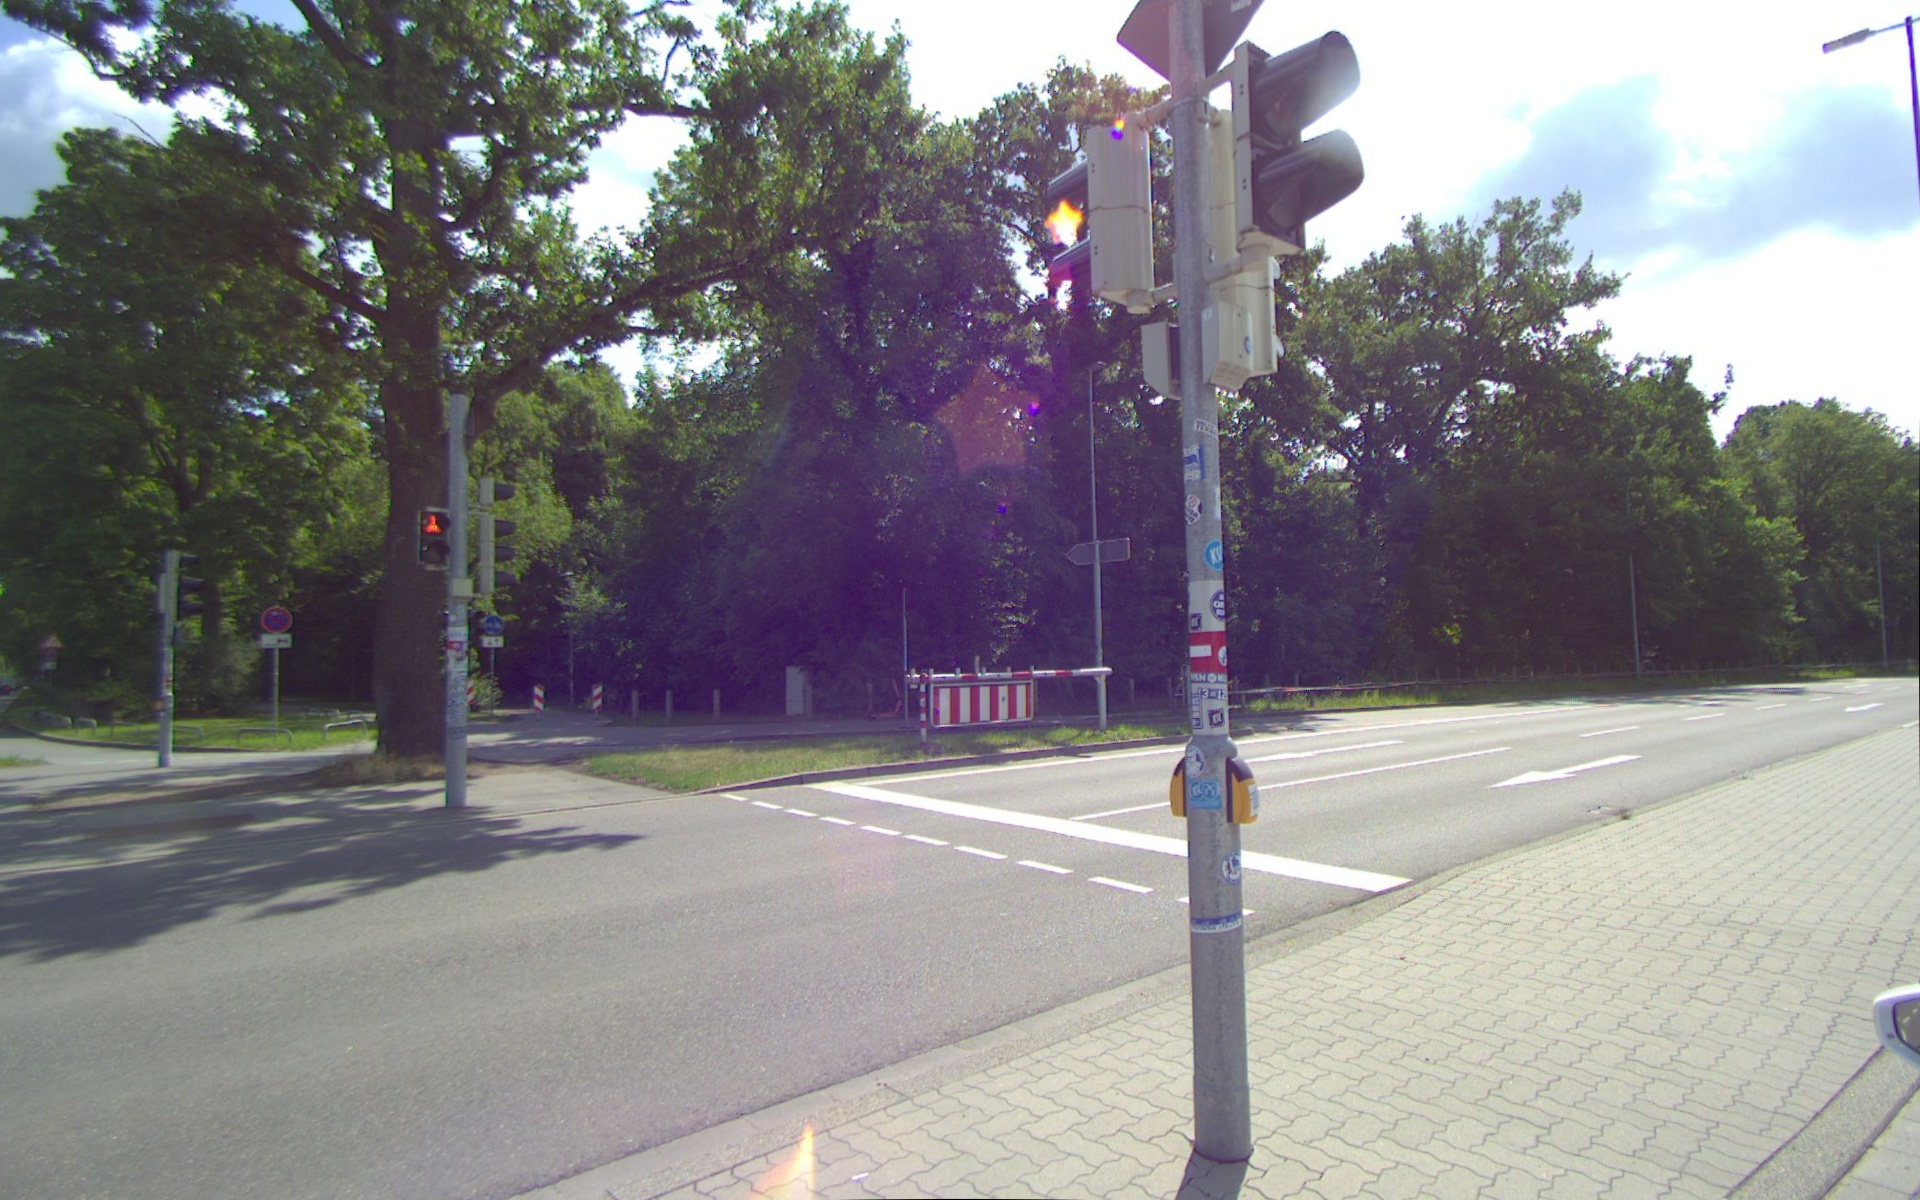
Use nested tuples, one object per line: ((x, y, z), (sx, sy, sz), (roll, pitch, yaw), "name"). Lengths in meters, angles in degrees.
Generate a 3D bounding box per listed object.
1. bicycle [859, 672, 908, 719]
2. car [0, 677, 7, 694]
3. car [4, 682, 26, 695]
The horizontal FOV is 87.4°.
((-2.007, 2.489, 26.302), (1.210, 1.188, 0.419), (1, -3, -19), "bicycle")
((-98.277, 8.719, 102.250), (1.754, 1.651, 4.247), (-1, -3, -43), "car")
((-123.568, 11.520, 131.401), (1.685, 1.465, 4.024), (0, -2, -38), "car")
